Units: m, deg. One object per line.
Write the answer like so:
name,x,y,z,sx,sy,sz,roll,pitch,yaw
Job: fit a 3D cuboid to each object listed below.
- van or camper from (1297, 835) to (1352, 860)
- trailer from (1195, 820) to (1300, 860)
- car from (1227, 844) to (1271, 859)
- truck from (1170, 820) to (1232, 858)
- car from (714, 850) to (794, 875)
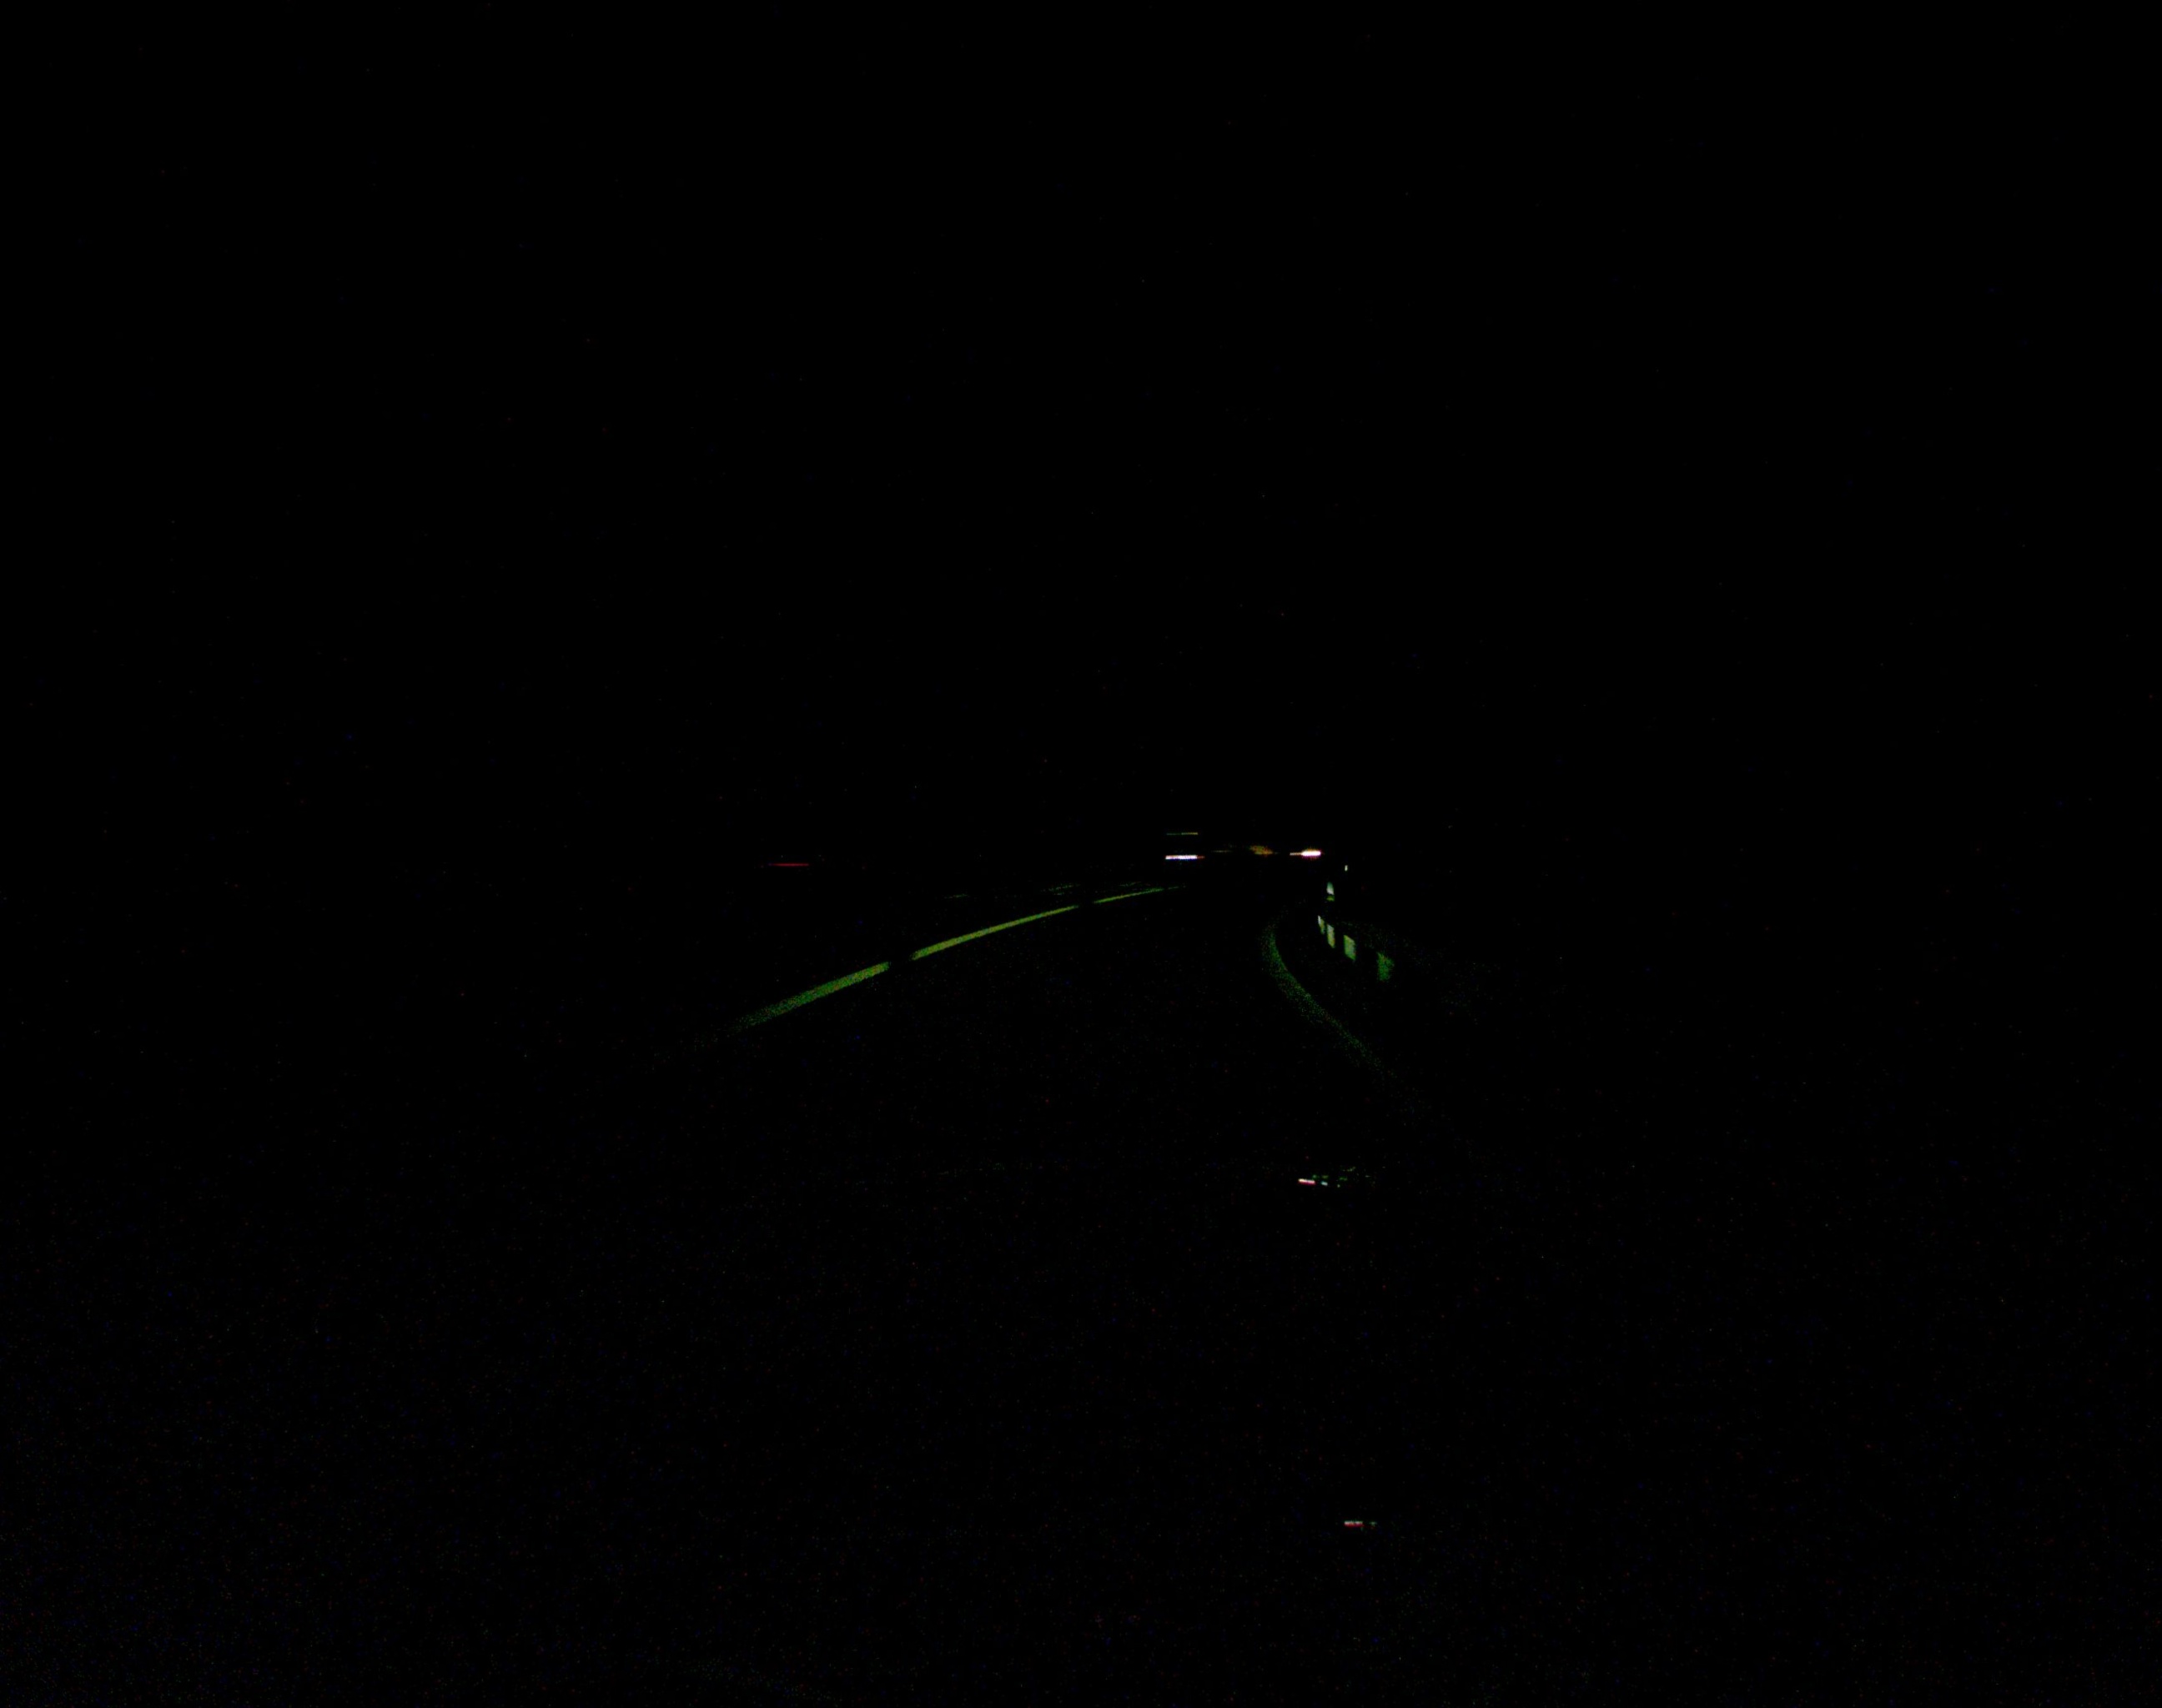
van or camper,25.460,-0.656,85.016,7.222,2.550,1.976,-1,0,-42
trailer,17.348,-1.423,83.710,13.831,3.816,2.735,-1,0,-41
car,14.936,-0.264,72.179,4.019,1.277,1.611,-1,1,-38
truck,11.659,-1.414,78.985,5.995,3.595,2.735,-1,0,-41
car,-17.840,0.453,44.494,3.735,1.277,1.610,-1,1,-41
